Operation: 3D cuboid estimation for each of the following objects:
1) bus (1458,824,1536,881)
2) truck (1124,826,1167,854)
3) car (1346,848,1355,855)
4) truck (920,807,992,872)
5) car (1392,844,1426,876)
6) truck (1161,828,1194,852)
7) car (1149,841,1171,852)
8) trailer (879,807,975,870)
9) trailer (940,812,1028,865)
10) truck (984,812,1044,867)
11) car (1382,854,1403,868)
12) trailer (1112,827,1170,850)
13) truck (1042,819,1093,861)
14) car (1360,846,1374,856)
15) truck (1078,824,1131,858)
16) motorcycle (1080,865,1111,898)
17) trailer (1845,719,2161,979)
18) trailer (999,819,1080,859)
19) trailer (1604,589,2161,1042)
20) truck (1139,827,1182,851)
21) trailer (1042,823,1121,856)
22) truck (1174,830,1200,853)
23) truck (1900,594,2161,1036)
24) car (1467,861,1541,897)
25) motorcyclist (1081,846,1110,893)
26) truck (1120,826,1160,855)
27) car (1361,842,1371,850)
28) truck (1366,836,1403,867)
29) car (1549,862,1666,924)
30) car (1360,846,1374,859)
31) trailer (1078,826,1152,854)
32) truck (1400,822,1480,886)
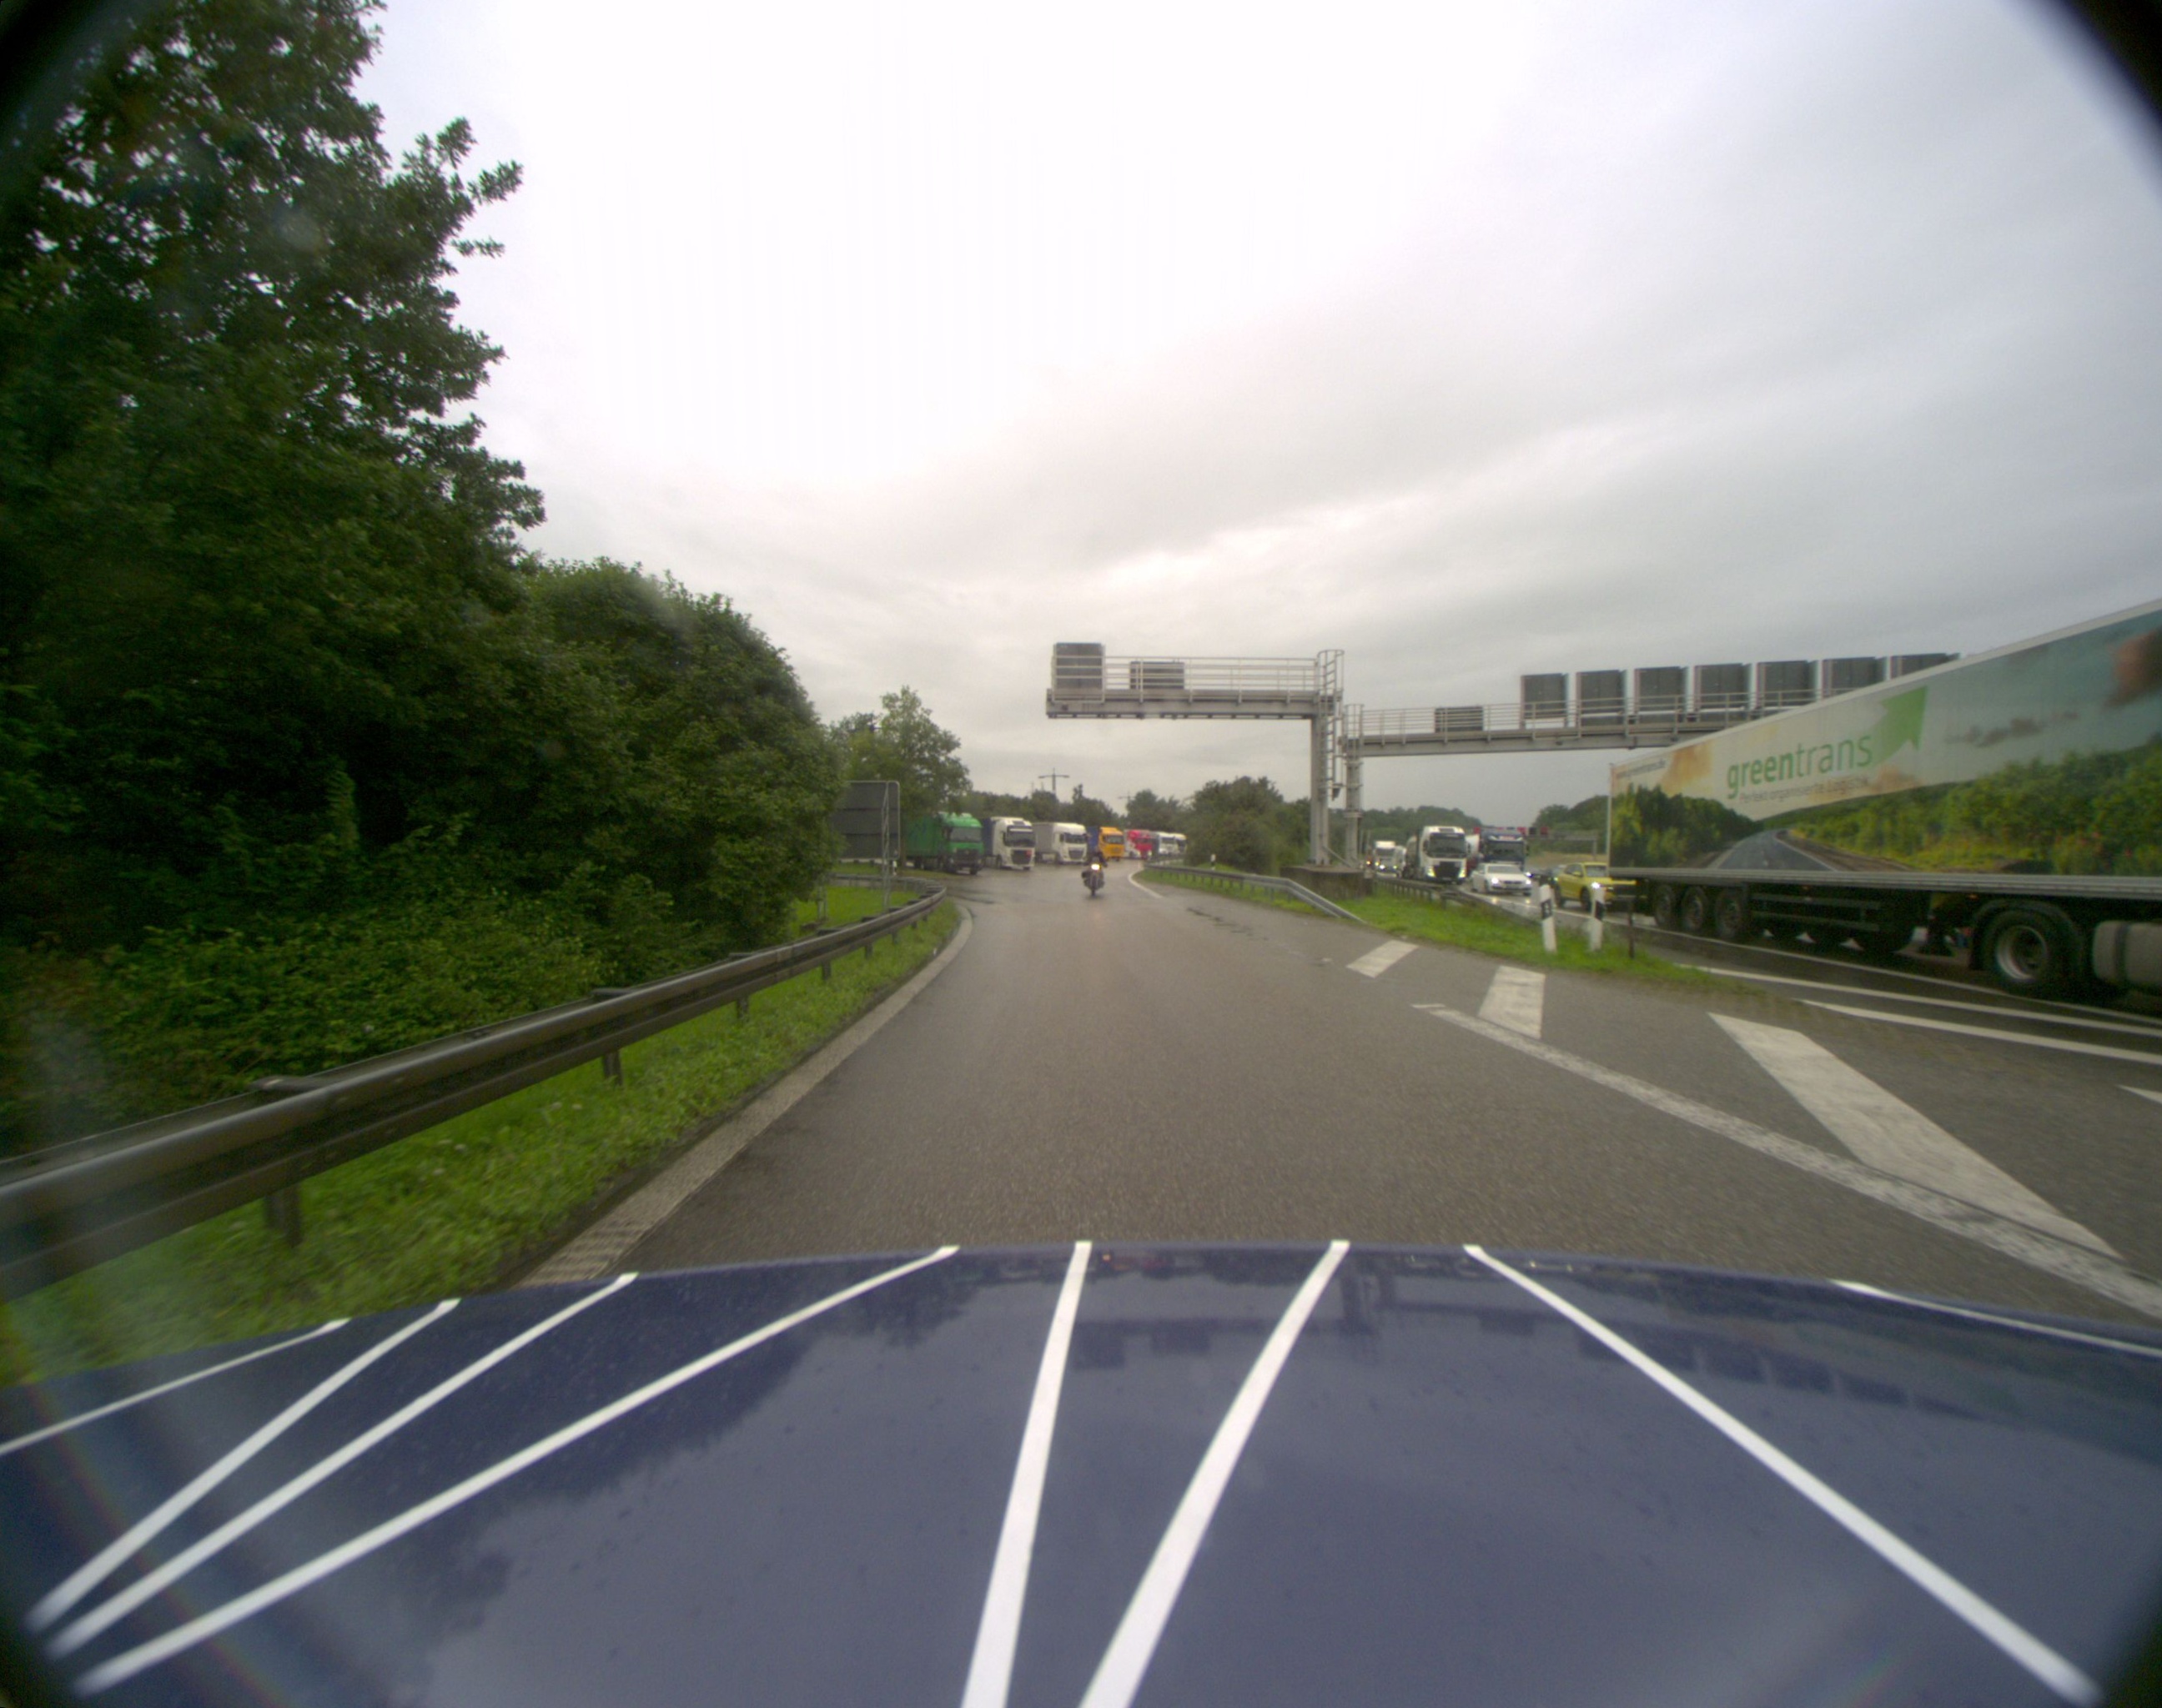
[{"bbox_3d":[30.598,-0.212,56.402,2.898,3.746,10.441,-2,1,17],"label":"bus"},{"bbox_3d":[9.372,-2.038,110.581,2.904,3.897,6.538,0,2,-31],"label":"truck"},{"bbox_3d":[67.051,-0.530,188.820,1.816,1.747,4.692,1,0,17],"label":"car"},{"bbox_3d":[-8.485,-0.999,50.862,2.831,4.126,5.982,0,2,-30],"label":"truck"},{"bbox_3d":[29.808,0.509,69.162,2.365,2.628,6.905,-2,1,20],"label":"car"},{"bbox_3d":[18.033,-2.666,142.386,3.251,4.362,5.798,-1,2,-31],"label":"truck"},{"bbox_3d":[13.302,-1.311,128.380,1.851,1.848,3.990,-1,2,-29],"label":"car"},{"bbox_3d":[-11.855,-1.222,56.903,2.831,4.126,13.931,0,2,-30],"label":"trailer"},{"bbox_3d":[-8.778,-1.433,66.358,2.831,4.148,13.959,0,2,-28],"label":"trailer"},{"bbox_3d":[-5.386,-1.181,59.966,2.831,4.122,5.289,0,2,-28],"label":"truck"},{"bbox_3d":[36.572,0.803,89.348,1.816,1.674,4.005,0,0,16],"label":"car"},{"bbox_3d":[10.881,-2.889,139.511,3.251,4.068,13.497,0,2,-31],"label":"trailer"},{"bbox_3d":[-1.380,-1.380,74.950,2.835,3.890,5.397,0,1,-29],"label":"truck"},{"bbox_3d":[47.174,-0.509,125.390,1.816,1.747,4.692,0,0,18],"label":"car"},{"bbox_3d":[2.793,-1.657,92.991,2.845,3.897,8.110,0,2,-27],"label":"truck"},{"bbox_3d":[0.485,0.942,26.543,0.878,1.016,2.352,1,0,-3],"label":"motorcycle"},{"bbox_3d":[17.089,-0.049,10.345,2.630,3.841,13.691,1,0,14],"label":"trailer"},{"bbox_3d":[-4.736,-1.648,81.151,2.849,3.897,13.919,0,2,-28],"label":"trailer"},{"bbox_3d":[13.008,-0.389,12.455,2.922,4.181,13.651,1,1,16],"label":"trailer"},{"bbox_3d":[13.963,-2.728,134.341,3.251,4.068,7.917,0,2,-31],"label":"truck"},{"bbox_3d":[-0.294,-1.958,98.898,2.873,3.897,16.592,0,2,-27],"label":"trailer"},{"bbox_3d":[20.492,-2.522,147.429,2.611,4.362,4.617,-1,2,-31],"label":"truck"},{"bbox_3d":[11.267,-0.342,6.279,2.922,4.075,6.726,1,1,16],"label":"truck"},{"bbox_3d":[20.102,1.123,36.345,1.930,1.513,4.768,1,1,15],"label":"car"},{"bbox_3d":[0.501,0.528,26.437,0.878,1.559,1.373,1,1,-3],"label":"motorcyclist"},{"bbox_3d":[8.155,-1.895,105.782,3.251,3.897,5.008,0,2,-31],"label":"truck"},{"bbox_3d":[61.336,-1.767,163.483,1.816,1.747,4.692,0,0,17],"label":"car"},{"bbox_3d":[40.544,-0.469,101.870,3.533,3.826,9.445,-2,1,16],"label":"truck"},{"bbox_3d":[17.161,1.186,25.033,1.796,1.783,4.244,1,1,15],"label":"car"},{"bbox_3d":[49.941,-0.315,132.874,1.996,2.149,4.449,0,1,18],"label":"car"},{"bbox_3d":[4.702,-2.129,111.560,3.251,3.897,14.791,0,2,-31],"label":"trailer"},{"bbox_3d":[25.914,-0.148,55.559,3.351,4.047,12.586,-2,1,17],"label":"truck"}]
